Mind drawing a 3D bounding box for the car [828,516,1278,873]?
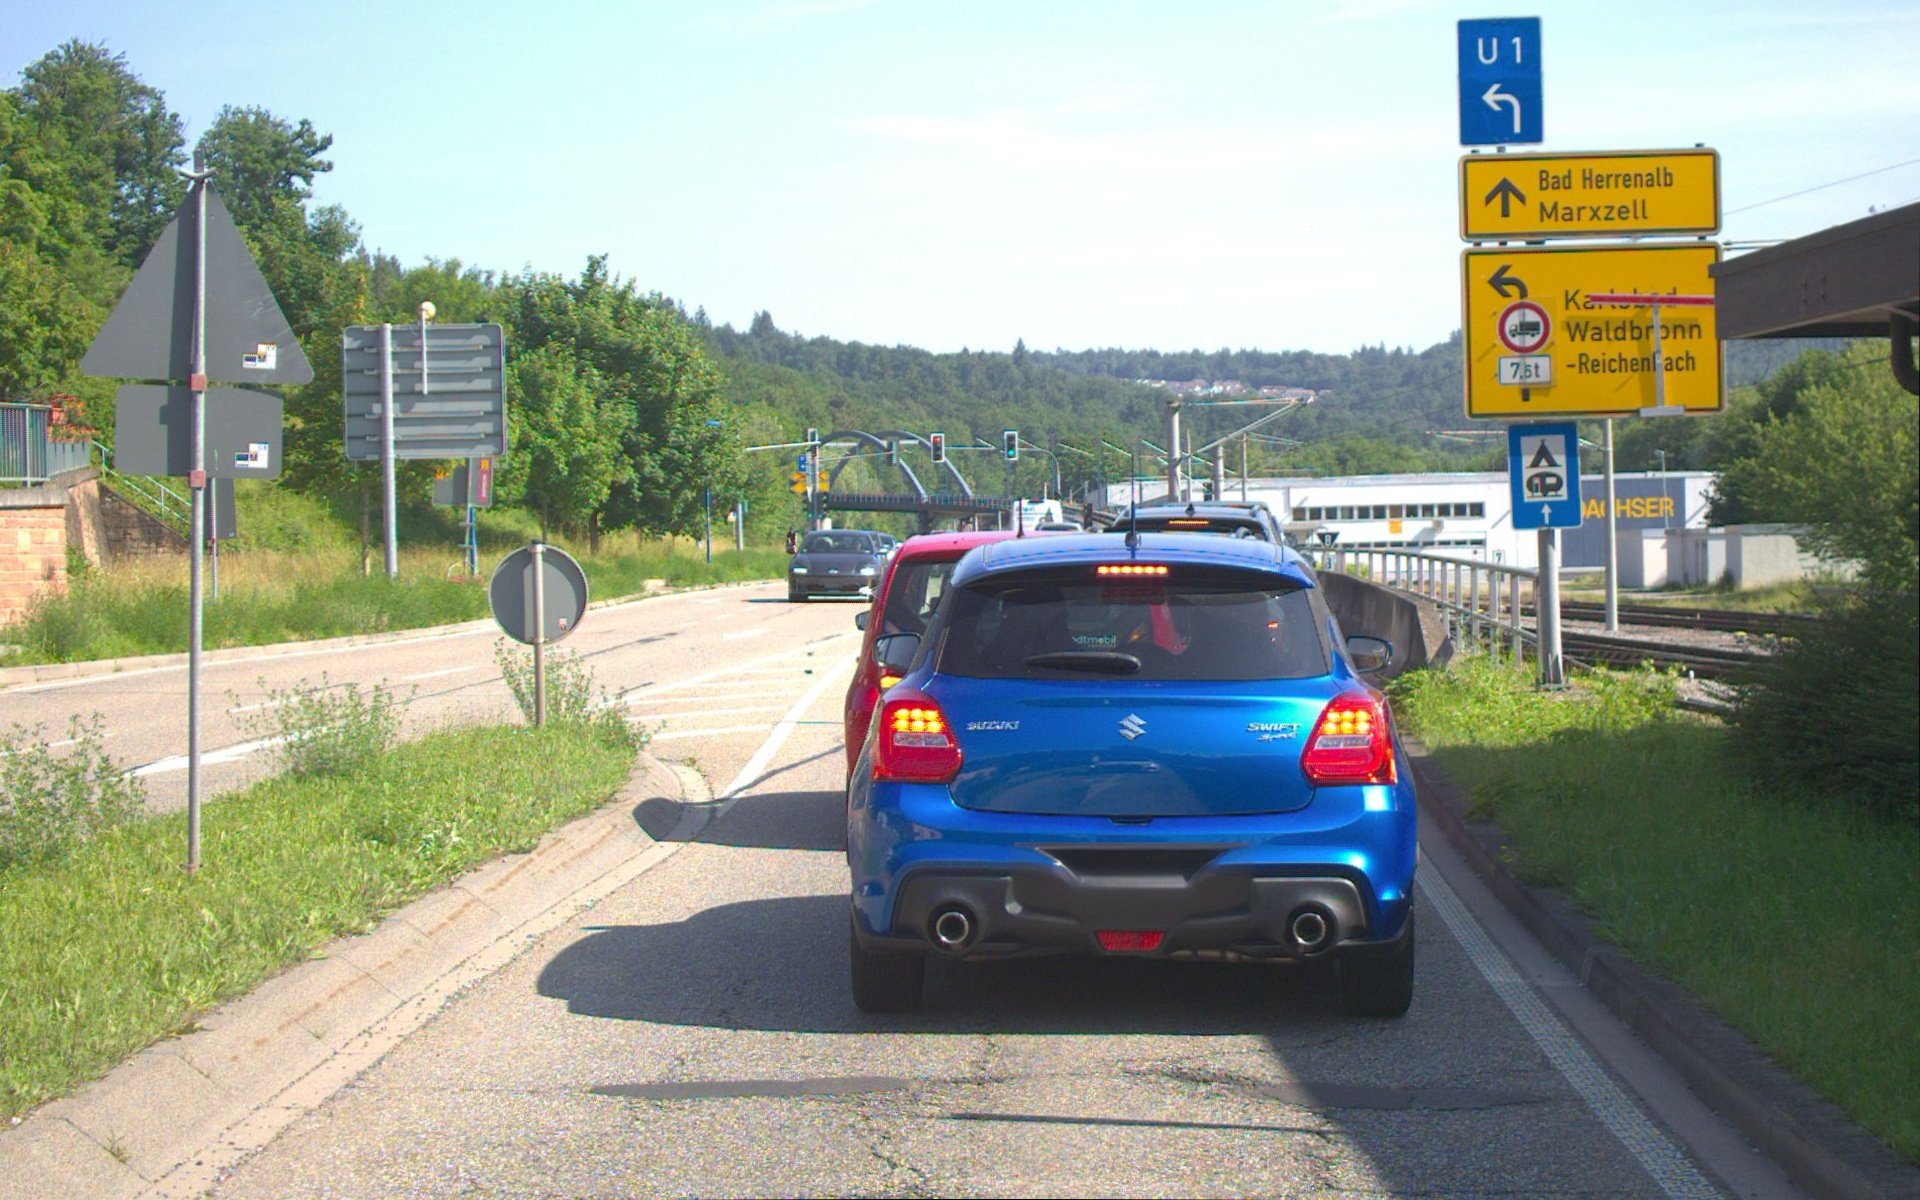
[{"bbox_3d":[0.521,0.394,17.509,1.994,1.566,4.000,1,1,3],"label":"car"}]

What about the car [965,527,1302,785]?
[{"bbox_3d":[1.152,0.287,22.756,1.994,1.526,4.601,0,1,3],"label":"car"}]

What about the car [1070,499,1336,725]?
[{"bbox_3d":[1.991,0.042,28.811,1.994,1.681,4.497,2,1,3],"label":"car"}]

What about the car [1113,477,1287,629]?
[{"bbox_3d":[2.955,-0.607,42.810,1.994,1.730,4.000,2,1,3],"label":"car"}]

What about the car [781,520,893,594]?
[{"bbox_3d":[-2.513,-0.907,71.314,1.792,1.465,4.716,1,1,4],"label":"car"}]

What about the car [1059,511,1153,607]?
[{"bbox_3d":[3.310,-0.967,78.625,1.993,2.006,4.000,2,2,1],"label":"car"}]

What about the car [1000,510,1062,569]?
[{"bbox_3d":[2.386,-2.053,115.273,1.993,1.810,4.000,2,2,1],"label":"car"}]

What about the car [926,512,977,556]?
[{"bbox_3d":[-0.340,-2.773,145.074,1.993,1.777,4.000,1,1,1],"label":"car"}]

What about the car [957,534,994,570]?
[{"bbox_3d":[0.899,-2.833,200.816,1.993,2.007,4.001,1,1,-2],"label":"car"}]

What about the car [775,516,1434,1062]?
[{"bbox_3d":[0.438,0.498,11.839,1.868,1.543,4.000,1,1,1],"label":"car"}]

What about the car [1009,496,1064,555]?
[{"bbox_3d":[2.892,-2.801,129.771,1.993,2.137,4.720,1,1,1],"label":"car"}]

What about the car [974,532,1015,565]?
[{"bbox_3d":[1.722,-2.595,172.114,1.993,1.585,4.000,1,1,1],"label":"car"}]

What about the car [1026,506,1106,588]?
[{"bbox_3d":[2.794,-1.434,90.794,1.993,2.006,4.000,2,2,1],"label":"car"}]
